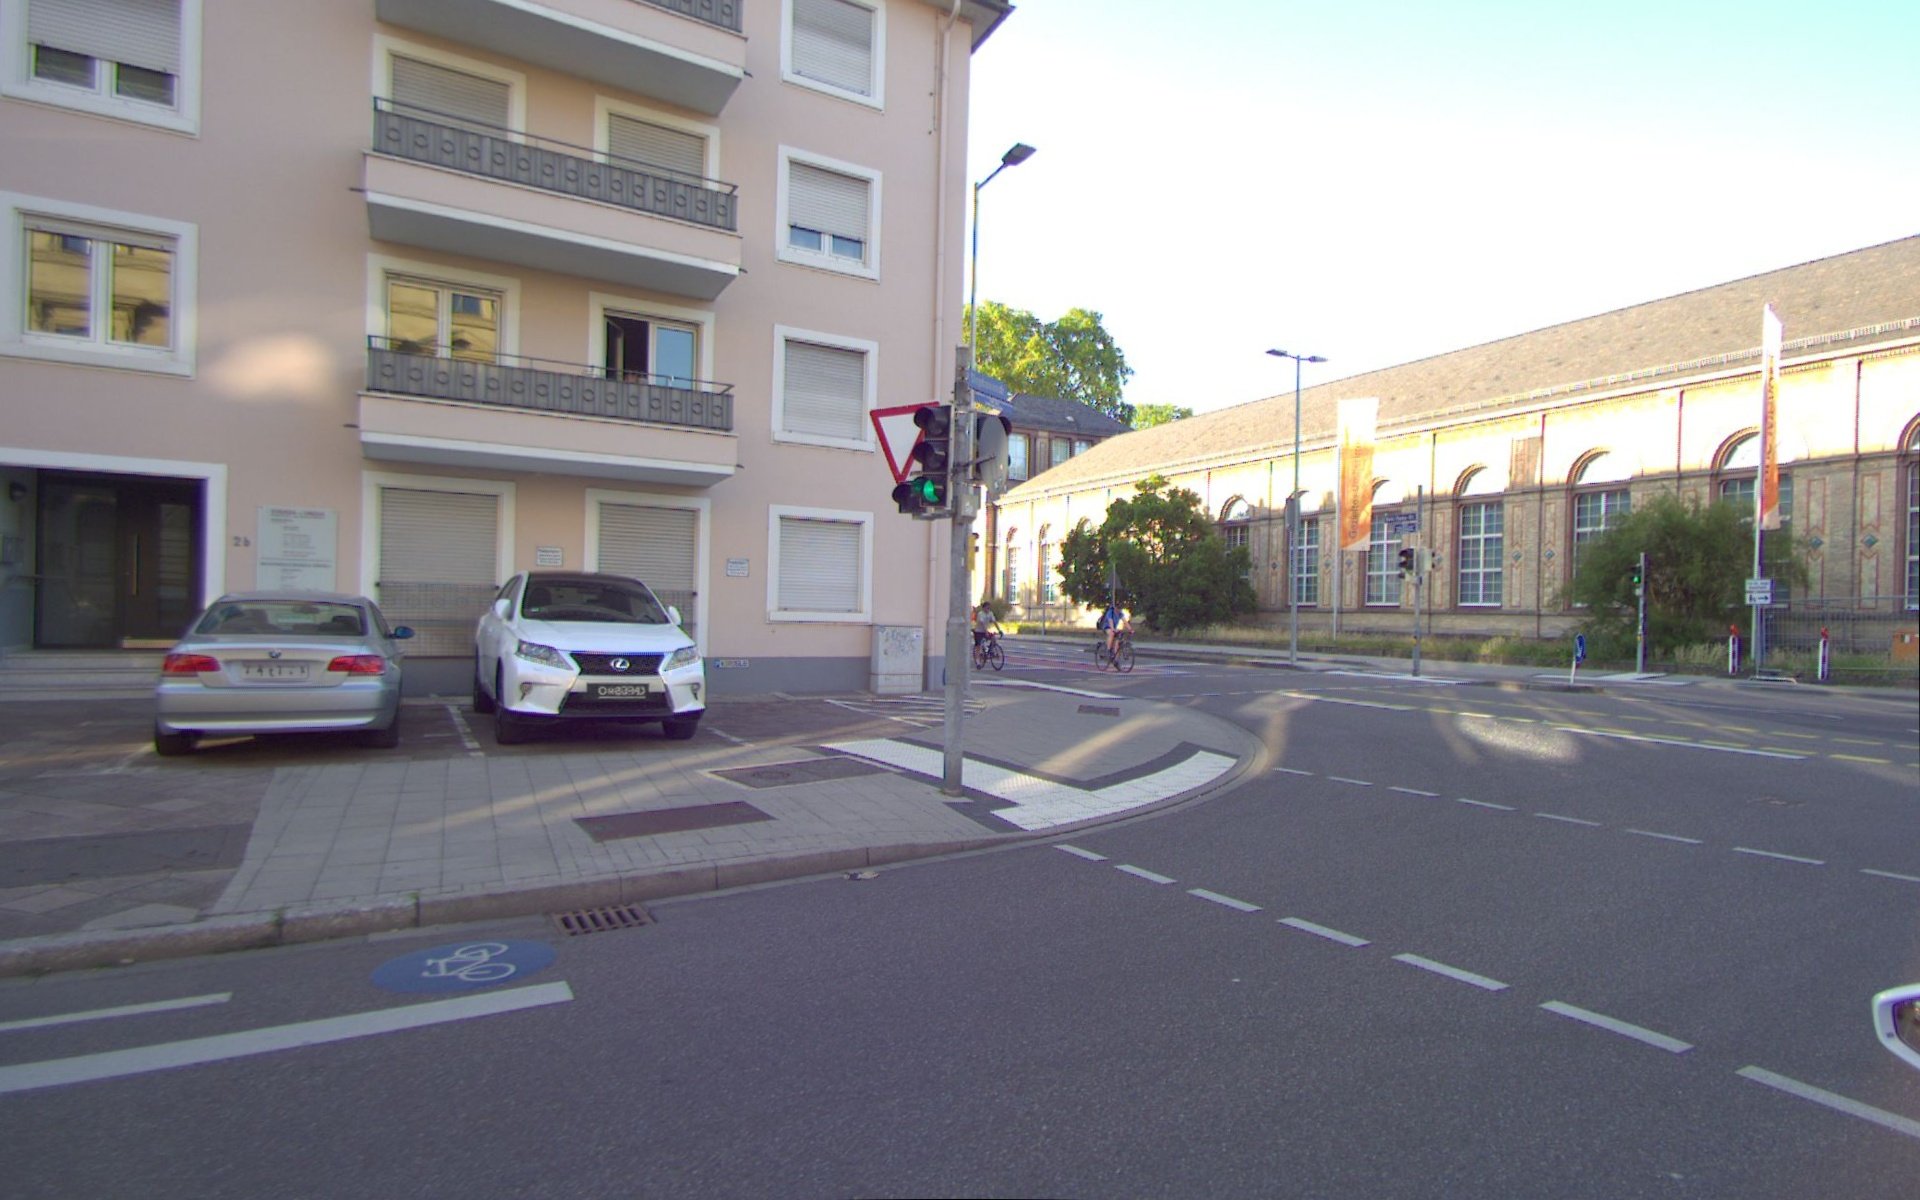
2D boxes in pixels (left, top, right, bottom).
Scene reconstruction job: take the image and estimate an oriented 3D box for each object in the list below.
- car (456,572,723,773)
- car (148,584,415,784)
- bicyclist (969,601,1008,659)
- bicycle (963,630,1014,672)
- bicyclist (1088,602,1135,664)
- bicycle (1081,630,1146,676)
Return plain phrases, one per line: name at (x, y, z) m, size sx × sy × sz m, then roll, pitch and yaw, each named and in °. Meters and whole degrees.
car at (-4.191, 0.578, 10.865) m, size 1.920 × 1.663 × 4.417 m, roll 1°, pitch 1°, yaw -31°
car at (-6.337, 0.612, 9.697) m, size 1.716 × 1.399 × 4.244 m, roll 1°, pitch 1°, yaw -31°
bicyclist at (0.747, 0.772, 26.173) m, size 0.703 × 1.459 × 0.889 m, roll 1°, pitch 0°, yaw -23°
bicycle at (0.726, 1.320, 26.199) m, size 0.713 × 1.024 × 1.680 m, roll 1°, pitch -1°, yaw -22°
bicyclist at (3.891, 0.839, 25.784) m, size 0.703 × 1.565 × 1.119 m, roll 1°, pitch 0°, yaw -23°
bicycle at (3.905, 1.343, 25.719) m, size 0.713 × 1.082 × 1.990 m, roll 1°, pitch -1°, yaw -22°
